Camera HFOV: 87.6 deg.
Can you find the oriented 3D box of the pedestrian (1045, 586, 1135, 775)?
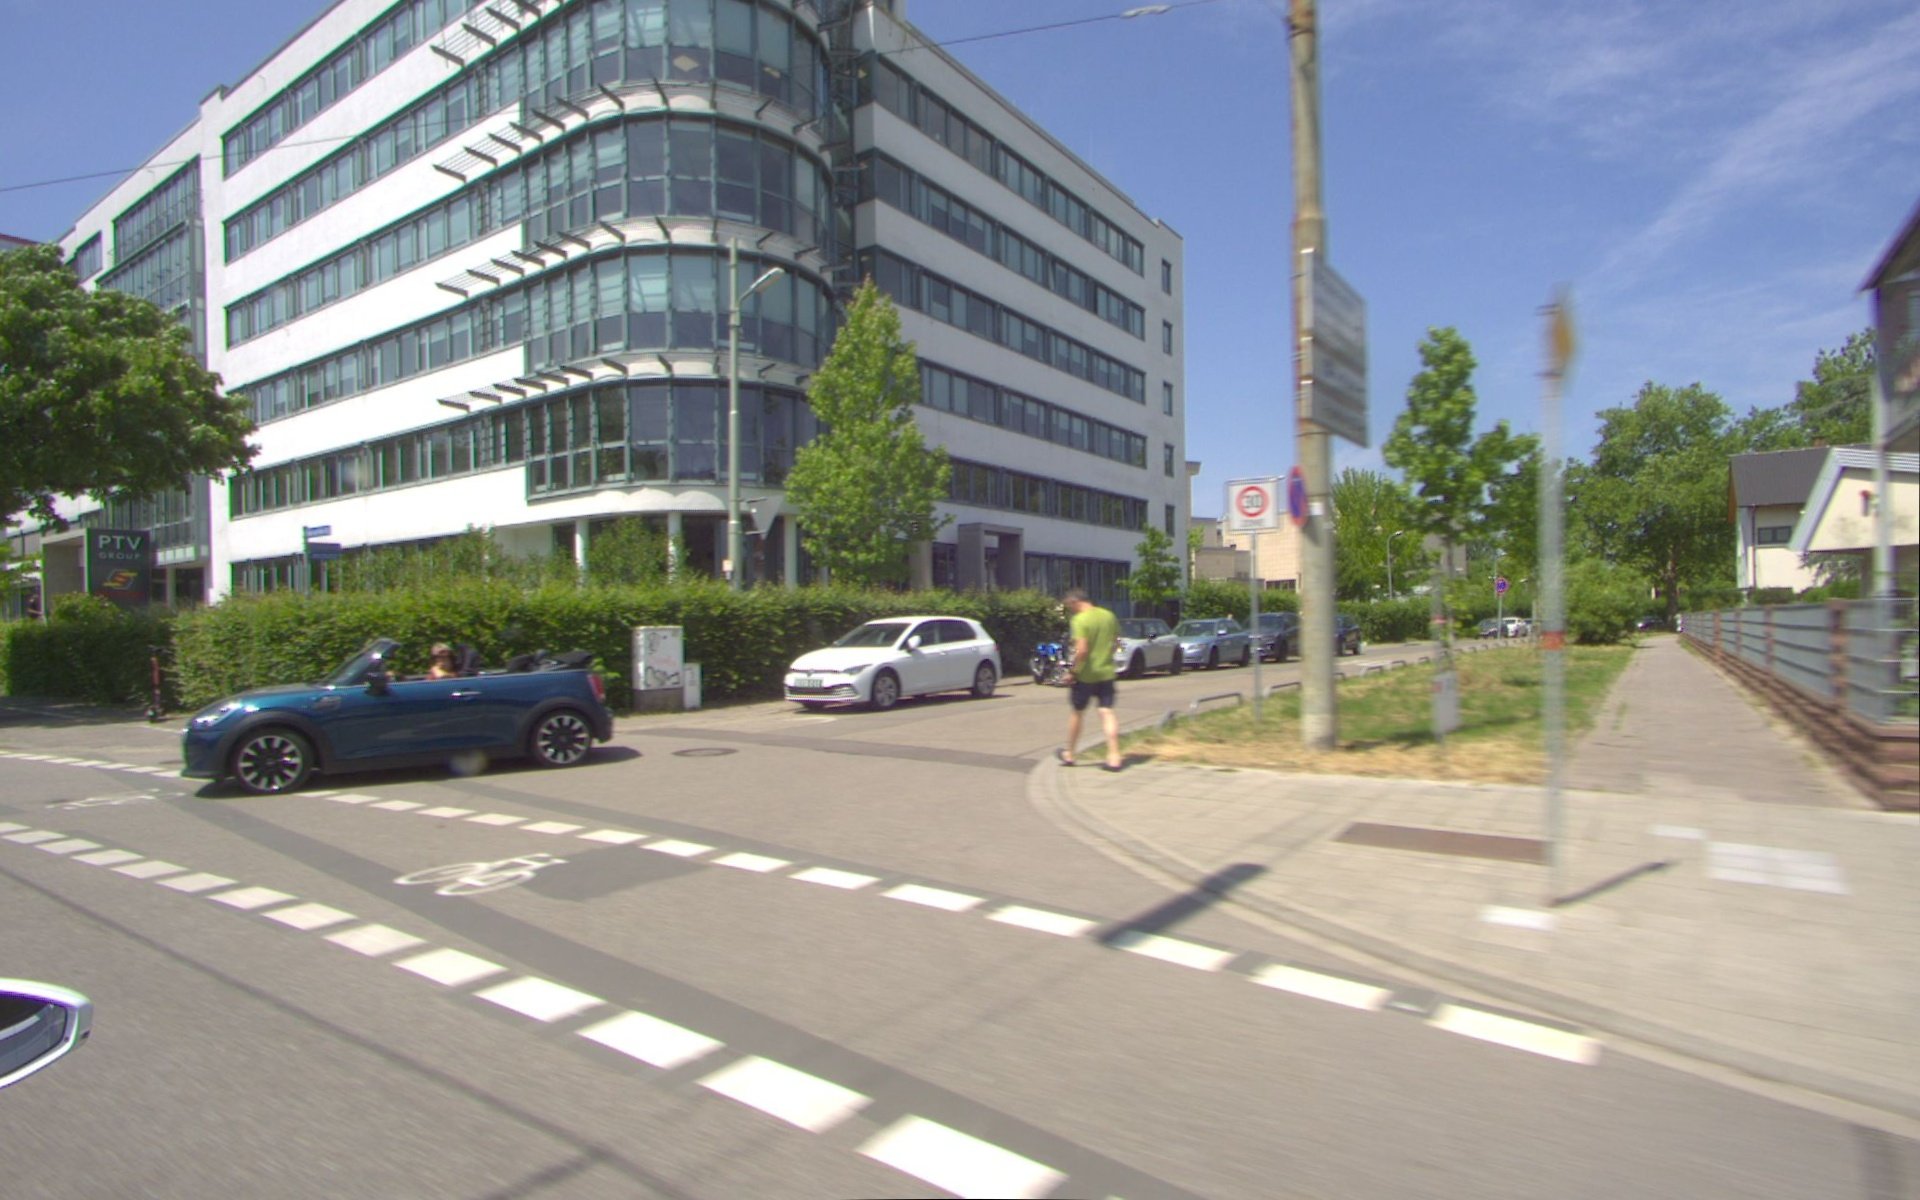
[{"bbox_3d":[1.234,0.736,9.423,0.721,1.688,0.839,-1,-1,15],"label":"pedestrian"}]

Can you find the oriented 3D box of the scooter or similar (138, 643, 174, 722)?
[{"bbox_3d":[-13.110,1.327,16.340,0.322,1.238,1.145,1,-2,-33],"label":"scooter or similar"}]

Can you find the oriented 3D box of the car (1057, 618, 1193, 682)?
[{"bbox_3d":[4.153,1.185,24.719,1.744,1.427,4.138,-2,-2,34],"label":"car"}]

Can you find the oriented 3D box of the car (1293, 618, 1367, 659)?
[{"bbox_3d":[14.570,1.494,39.329,1.744,1.514,4.137,-2,-2,35],"label":"car"}]

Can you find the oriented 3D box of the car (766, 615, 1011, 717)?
[{"bbox_3d":[-1.077,1.016,16.883,1.796,1.478,4.131,-2,-2,39],"label":"car"}]

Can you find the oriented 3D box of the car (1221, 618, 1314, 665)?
[{"bbox_3d":[10.213,1.338,33.060,1.744,1.427,4.137,-2,-2,35],"label":"car"}]

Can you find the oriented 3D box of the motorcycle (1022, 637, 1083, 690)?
[{"bbox_3d":[1.953,1.328,21.423,0.590,1.047,2.015,0,-1,-16],"label":"motorcycle"}]

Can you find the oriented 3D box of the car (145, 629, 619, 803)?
[{"bbox_3d":[-5.661,1.045,10.222,3.871,1.389,1.695,0,-2,-31],"label":"car"}]

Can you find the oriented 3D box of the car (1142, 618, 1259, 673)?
[{"bbox_3d":[6.956,1.265,28.667,1.744,1.427,4.438,-2,-2,35],"label":"car"}]

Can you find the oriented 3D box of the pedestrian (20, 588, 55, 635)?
[{"bbox_3d":[-34.599,0.434,37.563,0.866,1.737,1.081,-2,0,-40],"label":"pedestrian"}]
